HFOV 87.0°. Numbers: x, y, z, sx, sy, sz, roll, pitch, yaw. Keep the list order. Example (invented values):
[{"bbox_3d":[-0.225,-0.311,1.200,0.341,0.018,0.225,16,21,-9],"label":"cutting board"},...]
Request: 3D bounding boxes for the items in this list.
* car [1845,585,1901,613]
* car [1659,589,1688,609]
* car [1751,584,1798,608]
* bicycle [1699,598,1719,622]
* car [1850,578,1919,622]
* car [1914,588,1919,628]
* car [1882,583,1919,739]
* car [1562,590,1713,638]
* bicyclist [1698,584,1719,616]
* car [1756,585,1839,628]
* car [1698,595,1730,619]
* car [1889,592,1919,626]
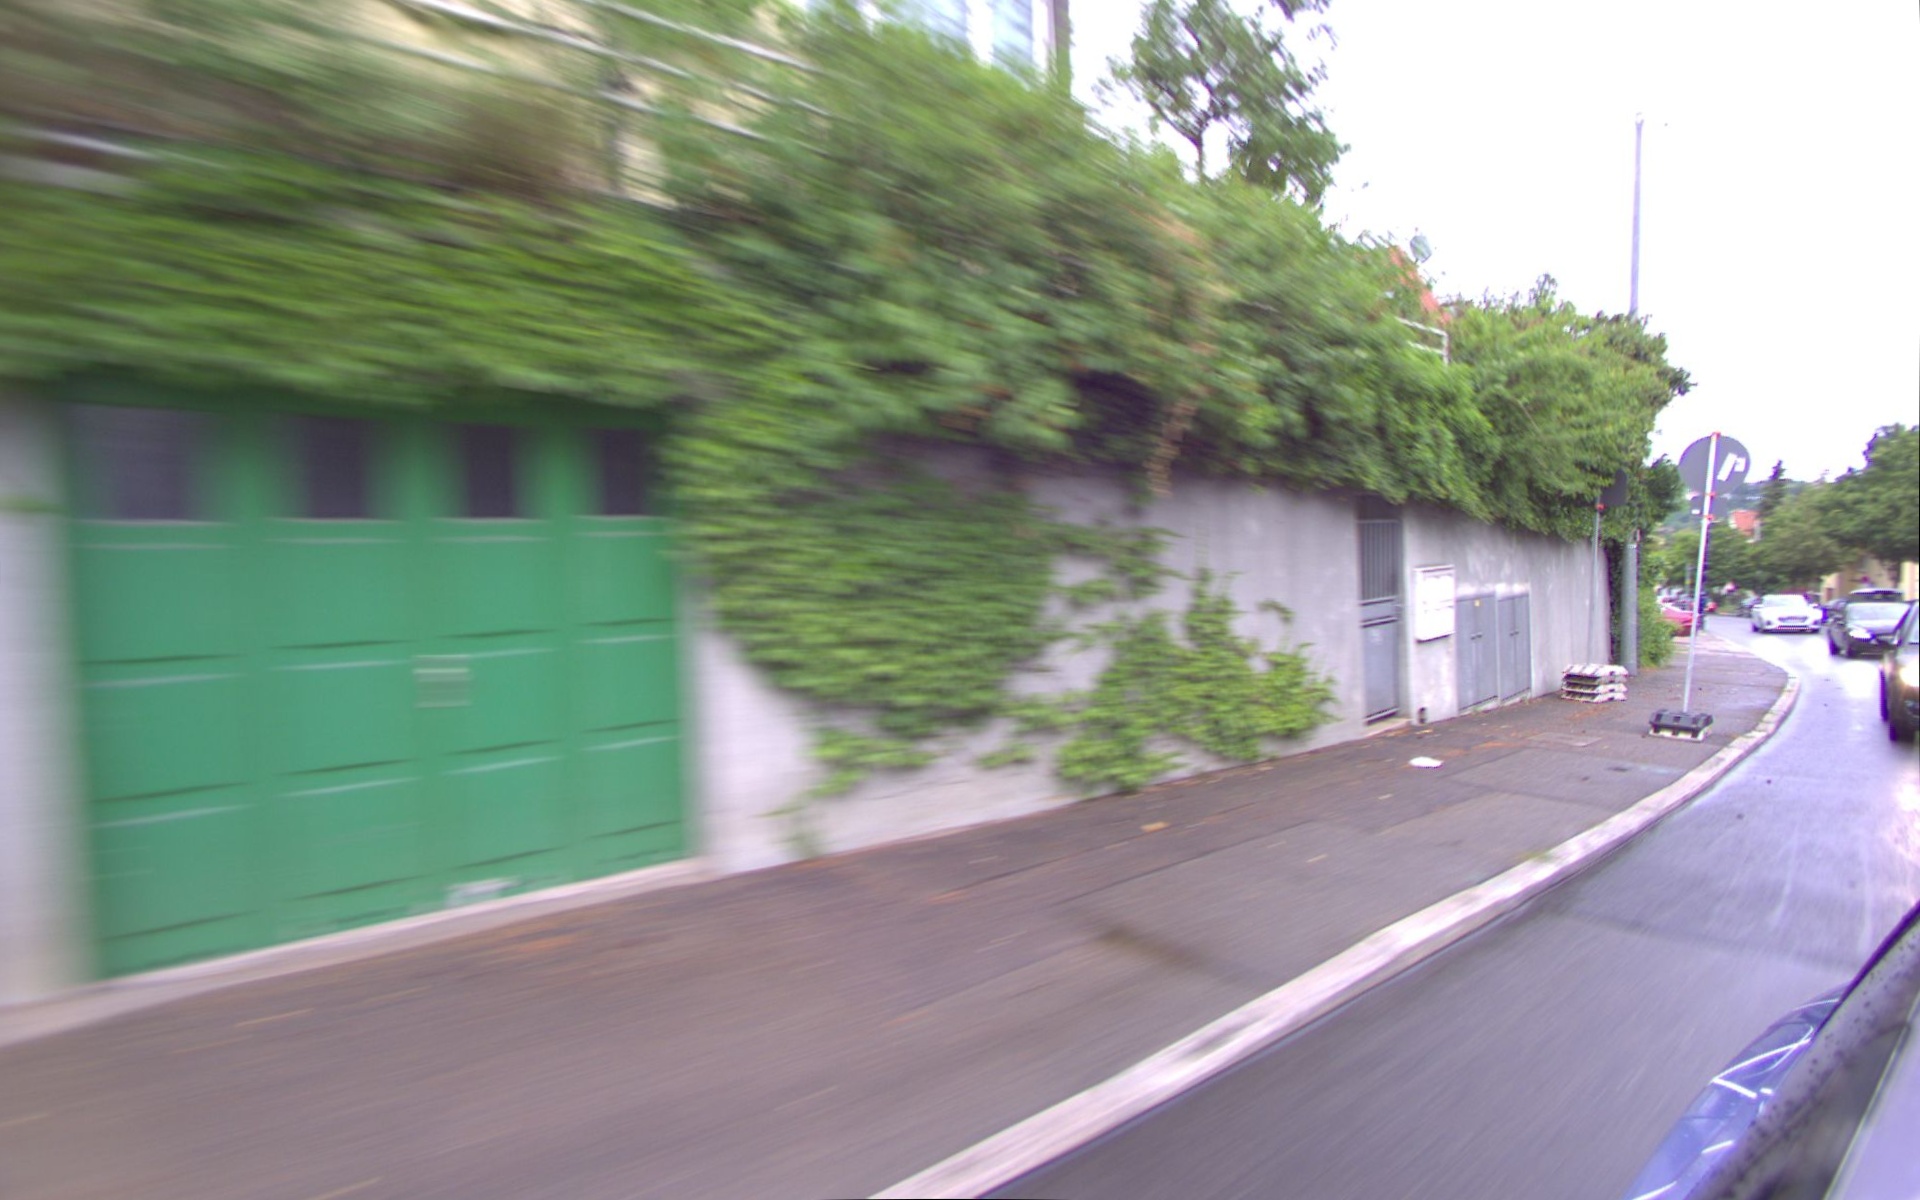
[{"bbox_3d":[49.820,-0.076,55.287,1.532,1.390,3.501,3,2,31],"label":"car"},{"bbox_3d":[73.384,-0.098,104.159,1.982,2.039,3.959,1,1,29],"label":"car"},{"bbox_3d":[56.452,-0.321,70.204,1.895,1.620,4.045,1,1,30],"label":"car"},{"bbox_3d":[36.369,0.468,49.137,0.585,1.113,1.512,-2,0,30],"label":"bicycle"},{"bbox_3d":[46.681,-0.047,51.048,1.809,2.037,4.513,3,2,31],"label":"car"},{"bbox_3d":[39.306,0.381,39.787,1.801,1.634,4.456,2,2,33],"label":"car"},{"bbox_3d":[11.323,0.543,10.969,1.739,1.460,4.296,-3,0,40],"label":"car"},{"bbox_3d":[23.064,0.440,34.517,4.162,1.423,1.809,3,1,38],"label":"car"},{"bbox_3d":[36.383,-0.004,49.176,0.679,1.557,0.776,-3,-1,30],"label":"bicyclist"},{"bbox_3d":[36.296,0.250,43.984,2.003,1.760,4.549,-2,-1,31],"label":"car"},{"bbox_3d":[66.430,0.631,89.139,1.991,2.039,3.941,1,1,40],"label":"car"},{"bbox_3d":[42.667,0.404,44.708,1.612,1.459,4.218,3,2,32],"label":"car"}]
